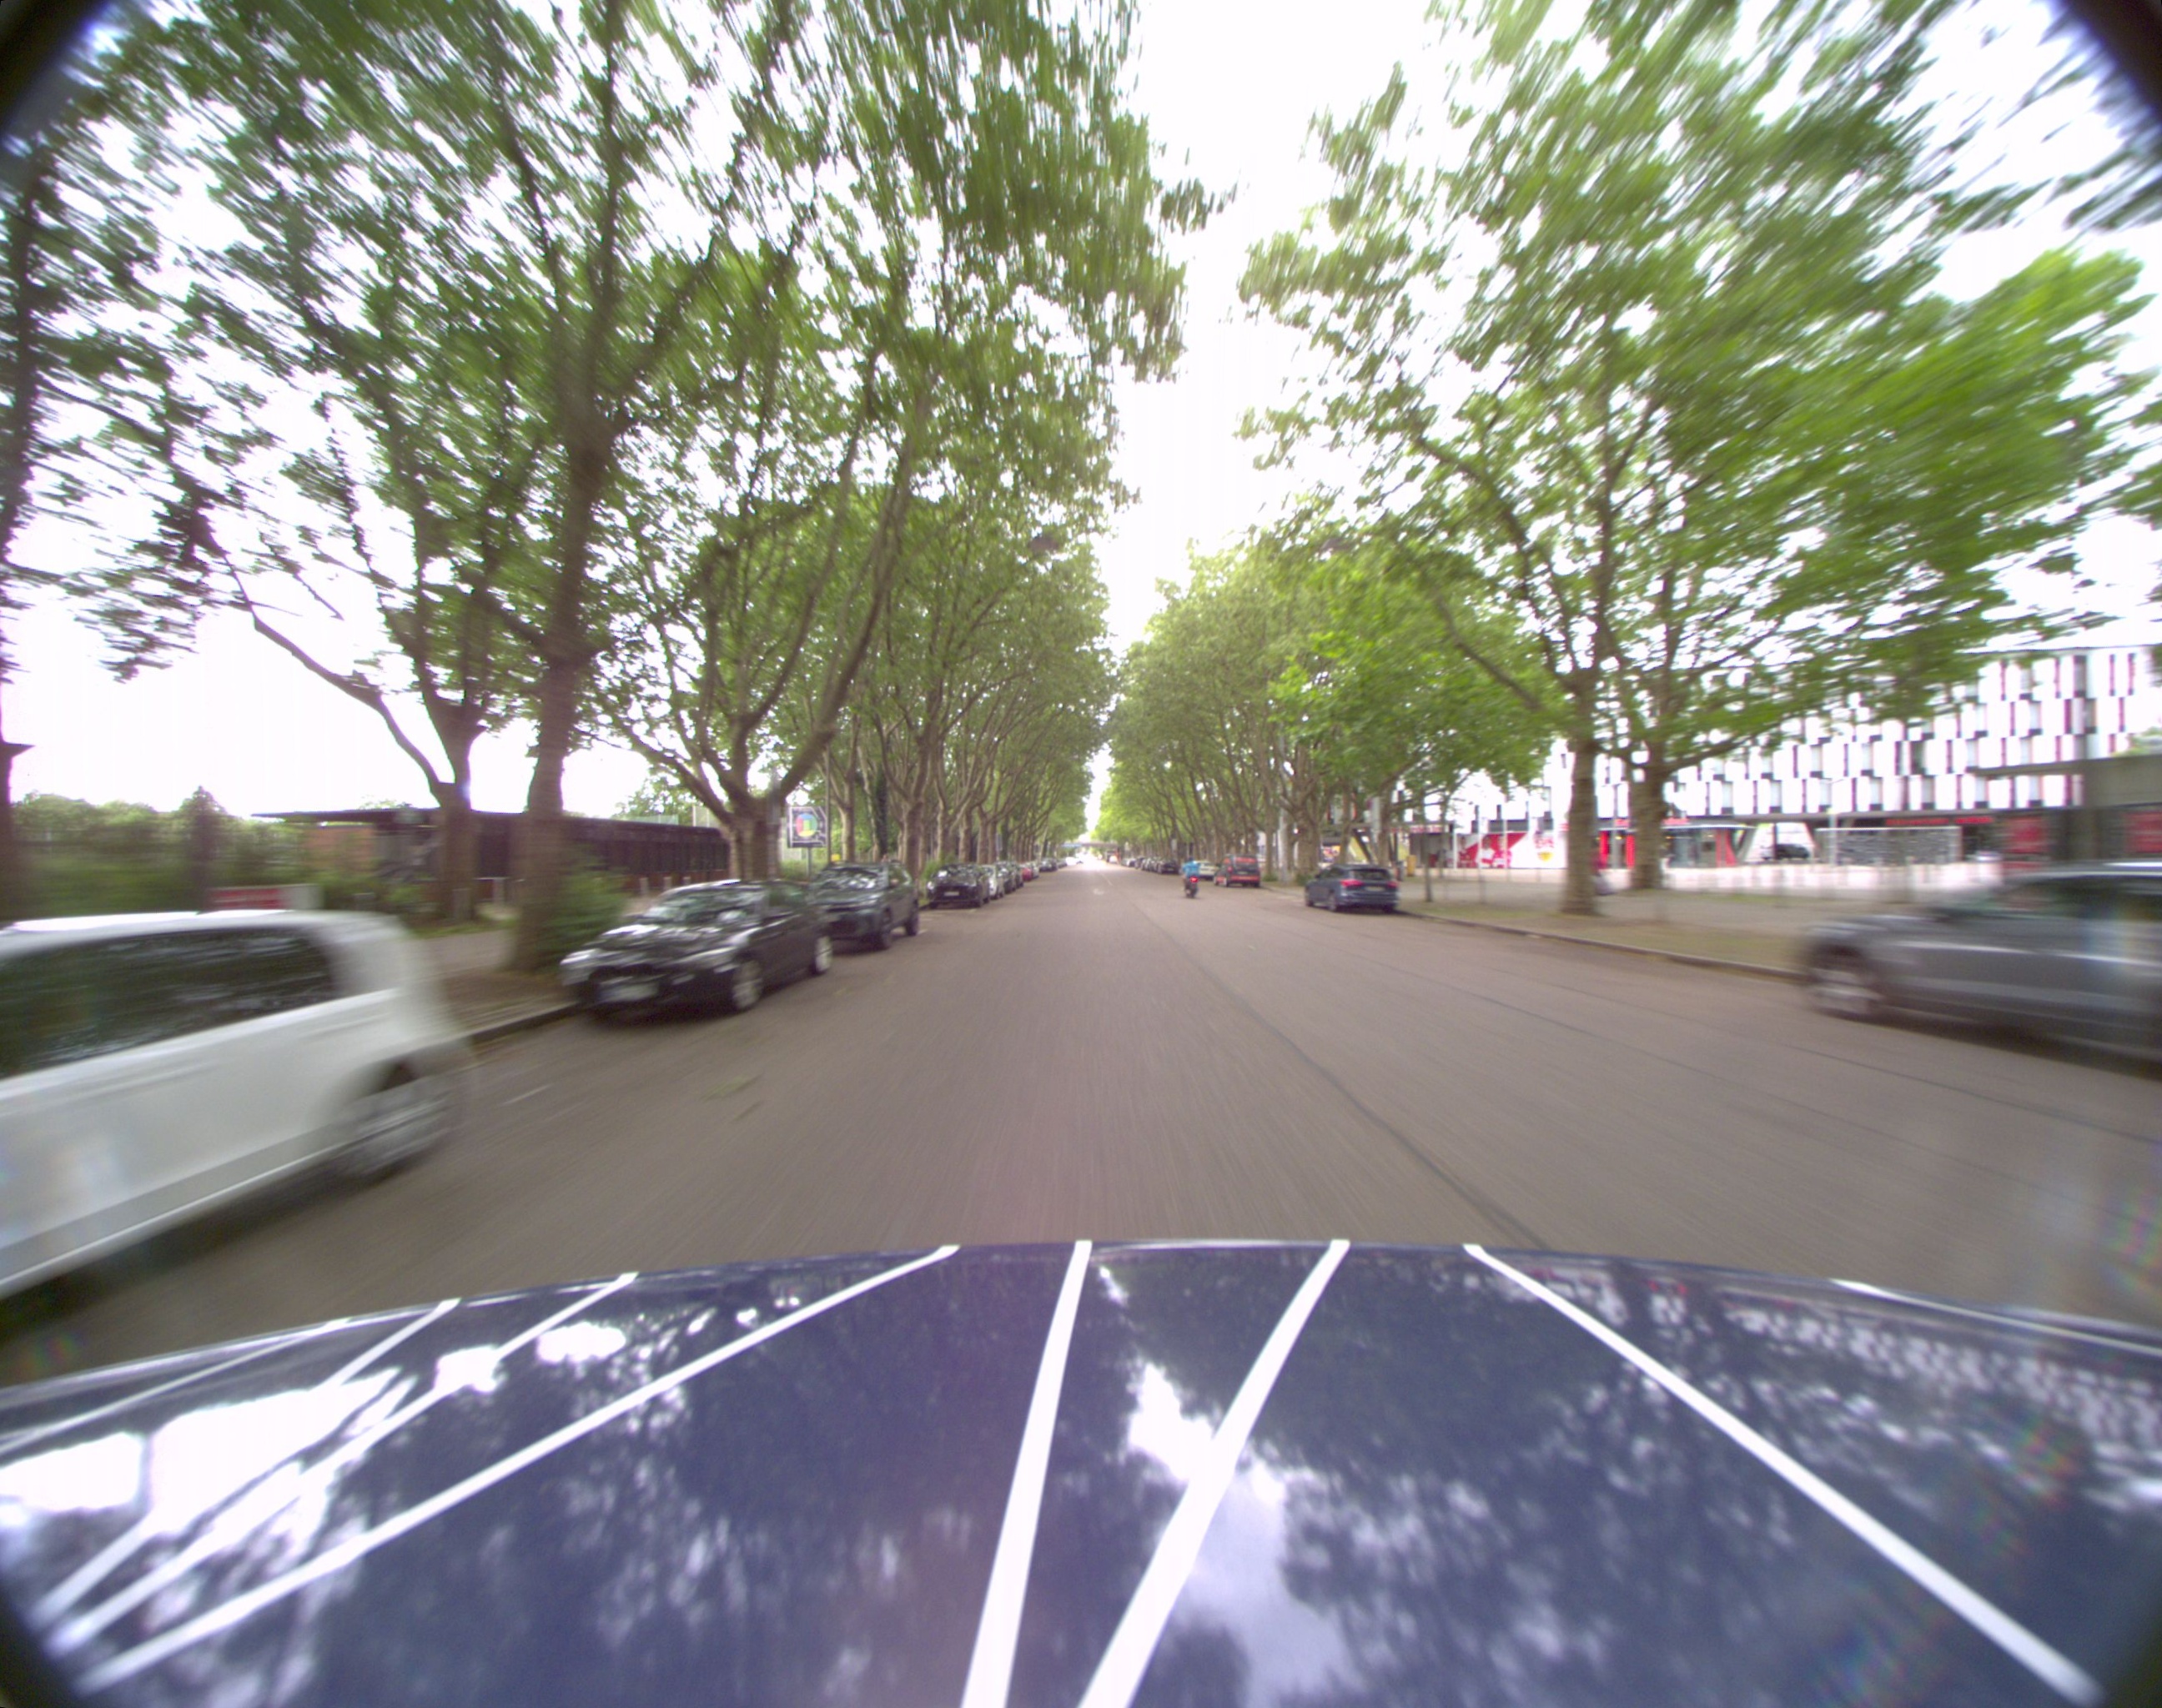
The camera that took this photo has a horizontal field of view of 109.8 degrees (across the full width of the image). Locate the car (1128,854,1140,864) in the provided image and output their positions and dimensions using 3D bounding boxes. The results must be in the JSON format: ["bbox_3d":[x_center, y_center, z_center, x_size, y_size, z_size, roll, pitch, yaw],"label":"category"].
[{"bbox_3d":[8.556,0.830,123.406,1.822,1.584,4.345,2,0,2],"label":"car"}]

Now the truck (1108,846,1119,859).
[{"bbox_3d":[9.644,-0.405,226.592,2.917,3.846,9.466,0,0,0],"label":"truck"}]

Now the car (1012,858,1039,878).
[{"bbox_3d":[-4.461,1.118,61.735,1.734,1.461,4.080,-4,0,1],"label":"car"}]

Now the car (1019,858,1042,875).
[{"bbox_3d":[-4.417,1.098,66.626,1.739,1.430,4.123,-1,0,0],"label":"car"}]

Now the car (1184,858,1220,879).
[{"bbox_3d":[8.764,1.034,55.357,1.909,1.394,4.751,2,0,0],"label":"car"}]

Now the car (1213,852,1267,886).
[{"bbox_3d":[8.598,0.788,41.456,1.954,1.740,4.638,1,0,0],"label":"car"}]

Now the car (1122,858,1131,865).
[{"bbox_3d":[9.256,1.484,156.206,1.698,1.354,4.001,3,0,2],"label":"car"}]

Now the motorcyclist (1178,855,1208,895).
[{"bbox_3d":[4.291,0.793,29.217,0.872,1.471,1.265,-1,0,-3],"label":"motorcyclist"}]

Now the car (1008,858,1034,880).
[{"bbox_3d":[-4.422,1.090,56.440,1.721,1.430,4.627,-3,0,-4],"label":"car"}]

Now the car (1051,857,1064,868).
[{"bbox_3d":[-3.777,1.322,121.928,1.834,1.593,4.467,-3,0,-1],"label":"car"}]

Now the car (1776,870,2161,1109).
[{"bbox_3d":[8.101,0.928,5.768,1.882,1.518,4.151,0,0,1],"label":"car"}]

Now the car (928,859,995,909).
[{"bbox_3d":[-4.379,1.041,28.423,1.782,1.663,4.637,-1,0,-1],"label":"car"}]

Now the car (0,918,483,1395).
[{"bbox_3d":[-4.484,1.130,2.600,1.712,1.419,3.889,-3,0,0],"label":"car"}]

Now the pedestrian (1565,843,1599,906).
[{"bbox_3d":[14.373,0.579,21.810,0.577,1.759,0.768,-1,1,15],"label":"pedestrian"}]

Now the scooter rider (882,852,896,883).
[{"bbox_3d":[-11.519,0.807,45.518,0.678,1.789,0.587,1,0,0],"label":"scooter rider"}]

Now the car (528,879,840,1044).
[{"bbox_3d":[-4.539,1.115,9.566,1.712,1.407,4.360,-2,0,-2],"label":"car"}]

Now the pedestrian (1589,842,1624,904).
[{"bbox_3d":[14.987,0.538,21.688,0.575,1.732,0.768,-1,1,15],"label":"pedestrian"}]

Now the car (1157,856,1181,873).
[{"bbox_3d":[8.442,0.966,73.241,1.838,1.485,4.442,2,0,1],"label":"car"}]

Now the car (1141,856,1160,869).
[{"bbox_3d":[8.678,1.041,95.350,2.089,1.521,5.146,0,0,2],"label":"car"}]

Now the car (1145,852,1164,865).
[{"bbox_3d":[8.715,0.500,89.886,1.838,1.447,4.230,2,0,0],"label":"car"}]

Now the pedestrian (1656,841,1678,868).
[{"bbox_3d":[36.417,0.022,47.244,0.726,1.681,0.808,-1,0,4],"label":"pedestrian"}]

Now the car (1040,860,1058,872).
[{"bbox_3d":[-3.966,1.468,94.177,1.998,1.469,4.371,-2,0,0],"label":"car"}]

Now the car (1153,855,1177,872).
[{"bbox_3d":[8.681,0.976,78.797,1.942,1.633,4.928,2,0,2],"label":"car"}]

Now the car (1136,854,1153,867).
[{"bbox_3d":[9.034,0.920,108.572,1.900,1.785,4.612,2,0,0],"label":"car"}]

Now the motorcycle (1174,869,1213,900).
[{"bbox_3d":[4.310,1.139,29.374,0.875,1.073,3.052,-1,0,-3],"label":"motorcycle"}]

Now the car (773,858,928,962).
[{"bbox_3d":[-4.413,0.971,15.314,1.712,1.688,4.630,-3,0,-1],"label":"car"}]

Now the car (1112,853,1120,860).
[{"bbox_3d":[9.670,0.728,208.489,2.064,1.950,5.466,0,0,2],"label":"car"}]

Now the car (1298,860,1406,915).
[{"bbox_3d":[8.267,0.954,23.616,1.729,1.477,4.574,-1,0,0],"label":"car"}]

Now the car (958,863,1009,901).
[{"bbox_3d":[-4.261,1.199,33.611,1.620,1.433,3.710,-3,0,1],"label":"car"}]

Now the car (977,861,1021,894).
[{"bbox_3d":[-4.163,1.170,39.107,1.672,1.500,4.353,-3,0,1],"label":"car"}]

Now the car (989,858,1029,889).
[{"bbox_3d":[-4.154,1.075,44.415,1.760,1.610,4.439,-3,0,1],"label":"car"}]
